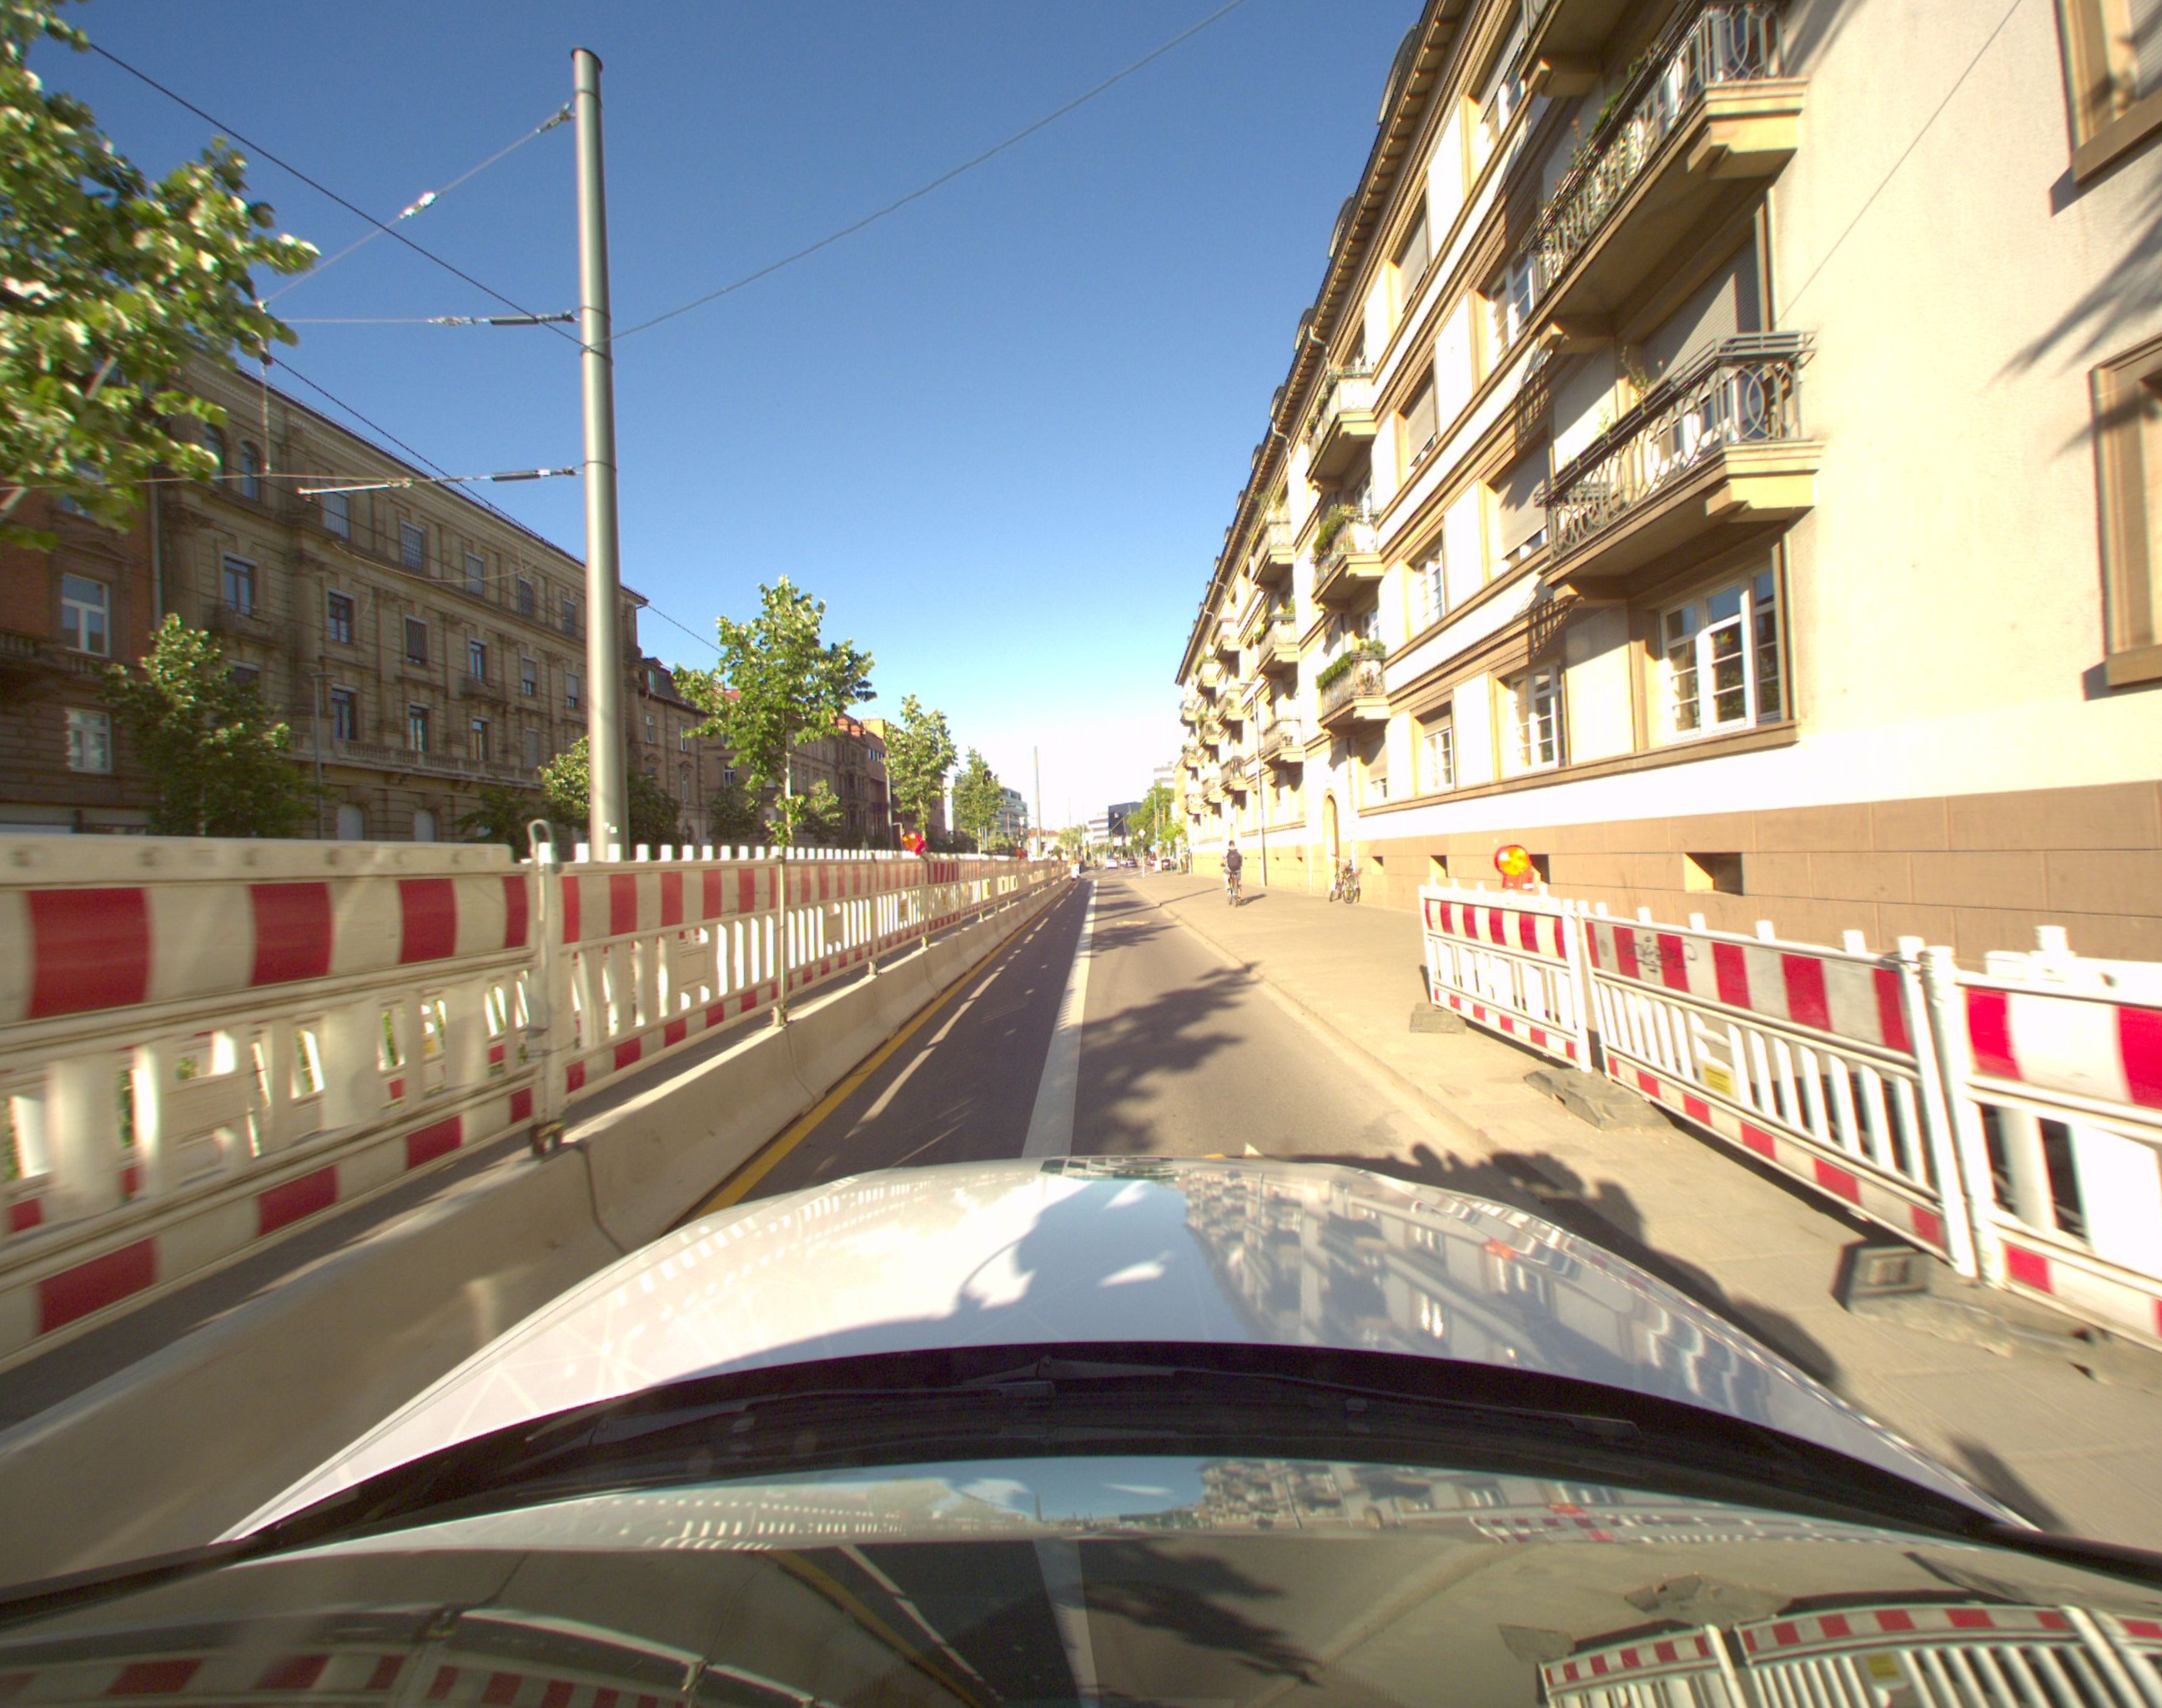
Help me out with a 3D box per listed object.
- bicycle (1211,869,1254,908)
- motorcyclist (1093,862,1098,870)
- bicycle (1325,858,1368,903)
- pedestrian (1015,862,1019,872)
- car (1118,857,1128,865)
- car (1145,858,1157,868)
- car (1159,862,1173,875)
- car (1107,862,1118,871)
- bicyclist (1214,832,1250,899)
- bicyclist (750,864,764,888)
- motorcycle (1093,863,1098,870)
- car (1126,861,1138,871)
[{"bbox_3d":[4.137,0.921,22.385,0.764,0.953,2.198,-2,-1,1],"label":"bicycle"},{"bbox_3d":[2.885,2.341,159.896,1.015,1.603,1.149,0,-1,2],"label":"motorcyclist"},{"bbox_3d":[6.883,0.662,21.168,0.416,1.095,2.199,-2,-1,2],"label":"bicycle"},{"bbox_3d":[-11.120,2.219,140.660,0.638,1.696,0.541,0,-1,2],"label":"pedestrian"},{"bbox_3d":[8.549,1.402,164.330,1.844,1.497,4.380,-3,0,2],"label":"car"},{"bbox_3d":[13.009,1.612,151.577,1.839,1.560,4.636,0,2,2],"label":"car"},{"bbox_3d":[11.571,1.913,110.481,1.711,1.637,4.240,-3,-1,8],"label":"car"},{"bbox_3d":[5.156,2.085,134.034,1.774,1.414,4.820,0,-1,2],"label":"car"},{"bbox_3d":[4.114,0.324,22.241,0.730,1.763,0.938,-2,-1,1],"label":"bicyclist"},{"bbox_3d":[-24.336,1.632,61.165,0.886,1.774,0.849,-1,-1,-25],"label":"bicyclist"},{"bbox_3d":[2.888,2.515,159.804,1.015,1.312,2.916,0,-1,2],"label":"motorcycle"},{"bbox_3d":[8.704,2.059,139.558,1.967,1.759,4.634,0,-1,2],"label":"car"}]
